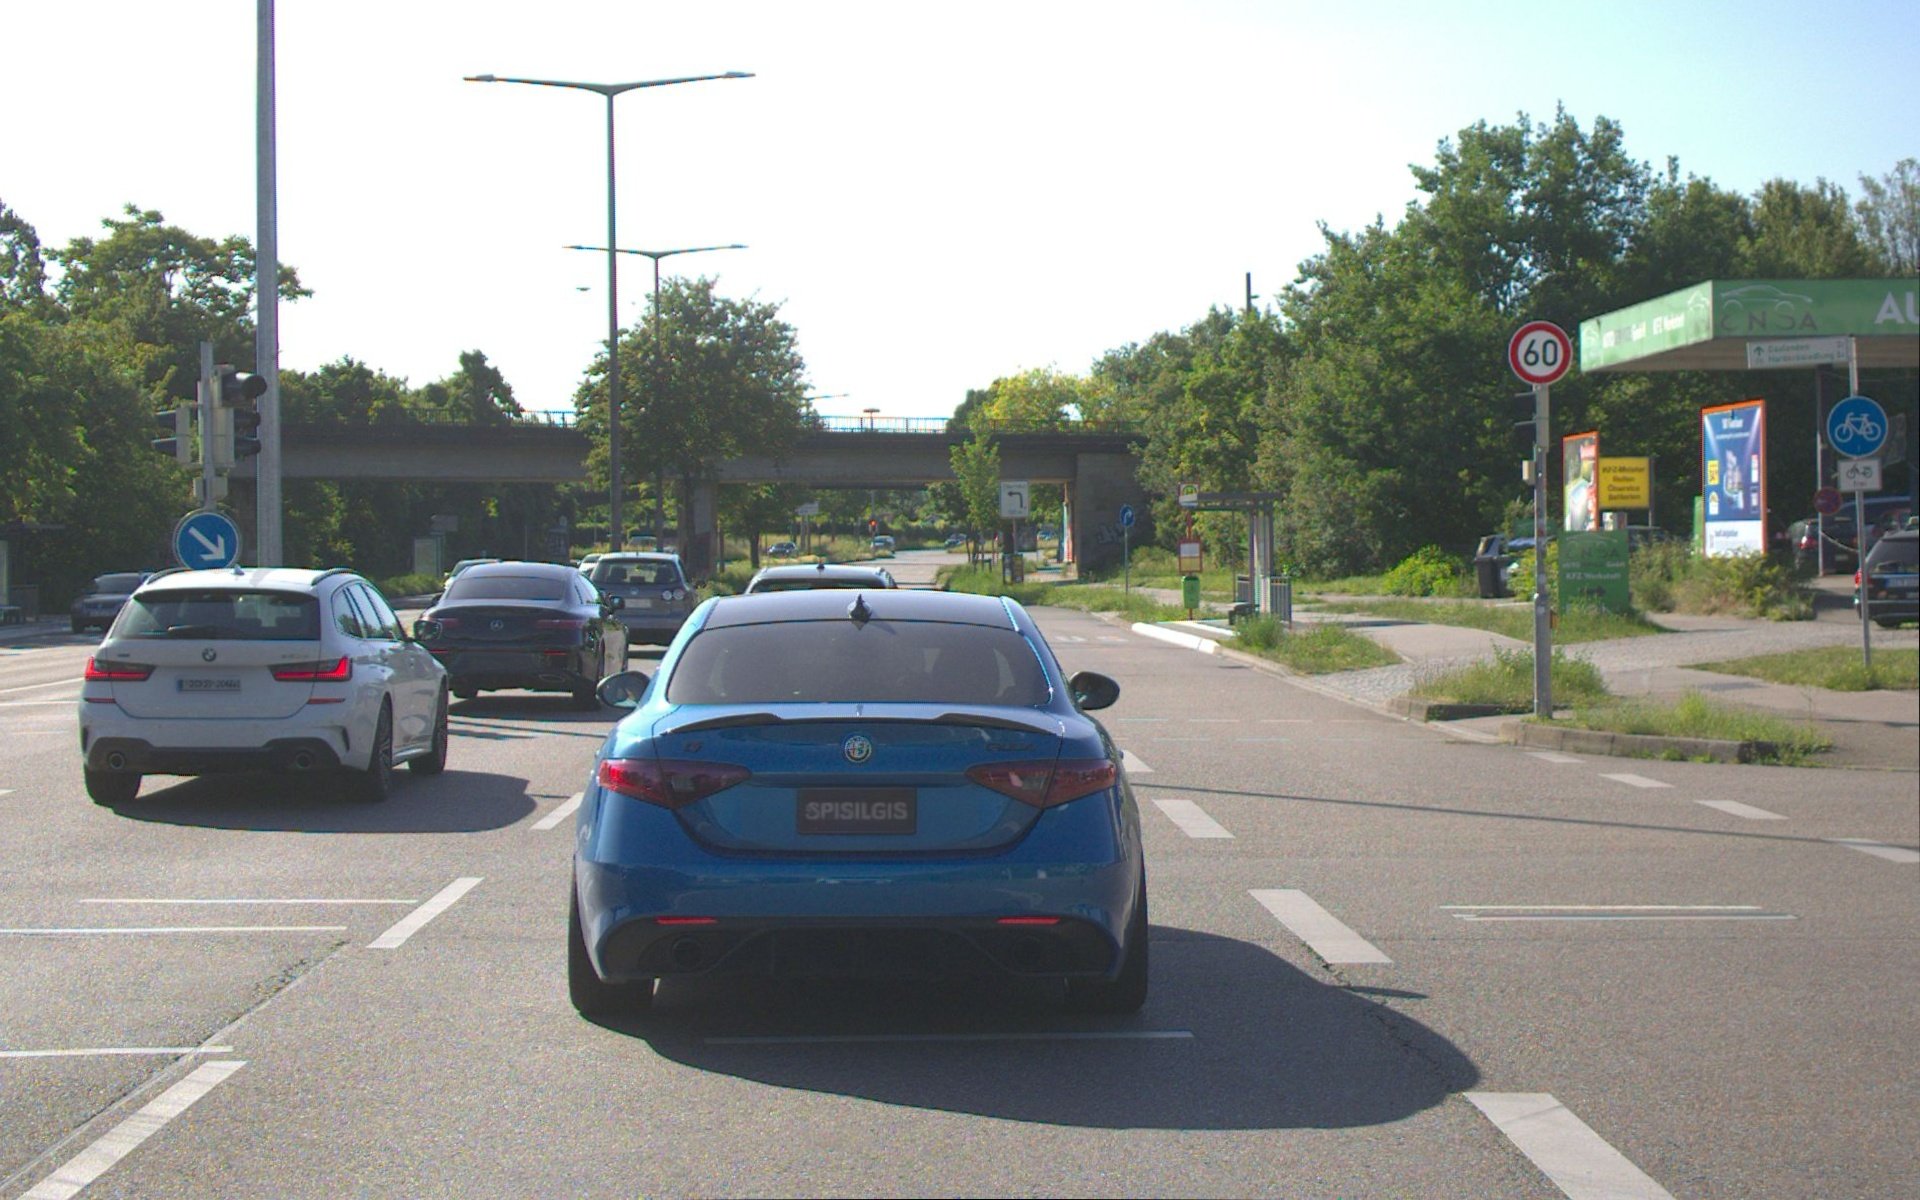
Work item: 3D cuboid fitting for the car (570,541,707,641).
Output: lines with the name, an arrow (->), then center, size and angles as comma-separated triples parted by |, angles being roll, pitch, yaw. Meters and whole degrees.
car -> -4.925, -0.166, 53.074 | 1.779, 1.449, 4.182 | -1, 1, -1

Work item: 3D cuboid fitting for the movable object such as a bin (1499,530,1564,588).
movable object such as a bin -> 14.117, -1.023, 84.919 | 0.986, 1.423, 1.260 | -1, 1, -43

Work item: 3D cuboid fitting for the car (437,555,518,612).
car -> -14.536, -0.511, 103.702 | 1.874, 1.636, 4.171 | -2, 1, -1

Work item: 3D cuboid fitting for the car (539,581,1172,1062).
car -> -0.353, 0.656, 12.461 | 1.883, 1.401, 4.224 | 1, 1, -1

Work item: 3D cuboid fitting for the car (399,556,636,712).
car -> -4.403, 0.297, 34.841 | 1.883, 1.449, 4.526 | 1, 1, -1

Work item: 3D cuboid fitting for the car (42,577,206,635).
car -> -20.780, 0.131, 85.642 | 1.995, 1.371, 4.620 | -1, 1, 14

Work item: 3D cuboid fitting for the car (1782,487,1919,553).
car -> 23.539, -2.086, 89.007 | 4.037, 1.526, 1.734 | -3, 0, 1

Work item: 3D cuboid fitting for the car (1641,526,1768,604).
car -> 15.688, -0.742, 72.581 | 1.744, 1.567, 4.249 | -1, 1, 0

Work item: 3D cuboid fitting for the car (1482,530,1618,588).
car -> 15.572, -1.082, 90.797 | 3.284, 1.481, 1.772 | 1, 0, 1

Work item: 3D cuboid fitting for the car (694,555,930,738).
car -> -1.237, 0.355, 29.965 | 1.883, 1.449, 4.526 | 1, 1, -1

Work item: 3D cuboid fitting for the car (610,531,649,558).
car -> -18.731, -3.154, 195.182 | 1.817, 1.430, 4.631 | -3, 1, -1

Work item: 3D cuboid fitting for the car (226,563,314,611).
car -> -21.734, -0.424, 108.435 | 1.993, 1.469, 4.196 | -1, 1, -1

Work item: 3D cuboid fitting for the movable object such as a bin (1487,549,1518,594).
movable object such as a bin -> 13.529, -0.722, 85.685 | 0.580, 1.117, 0.510 | -1, 1, -42

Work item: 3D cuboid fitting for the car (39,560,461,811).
car -> -4.500, 0.481, 22.465 | 1.883, 1.449, 4.526 | 1, 1, -1

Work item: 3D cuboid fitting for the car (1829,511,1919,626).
car -> 14.504, -0.546, 49.127 | 1.899, 1.526, 4.824 | -2, 1, 43

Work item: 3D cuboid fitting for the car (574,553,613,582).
car -> -19.380, -1.705, 182.008 | 1.641, 1.446, 4.112 | -3, 1, -1
